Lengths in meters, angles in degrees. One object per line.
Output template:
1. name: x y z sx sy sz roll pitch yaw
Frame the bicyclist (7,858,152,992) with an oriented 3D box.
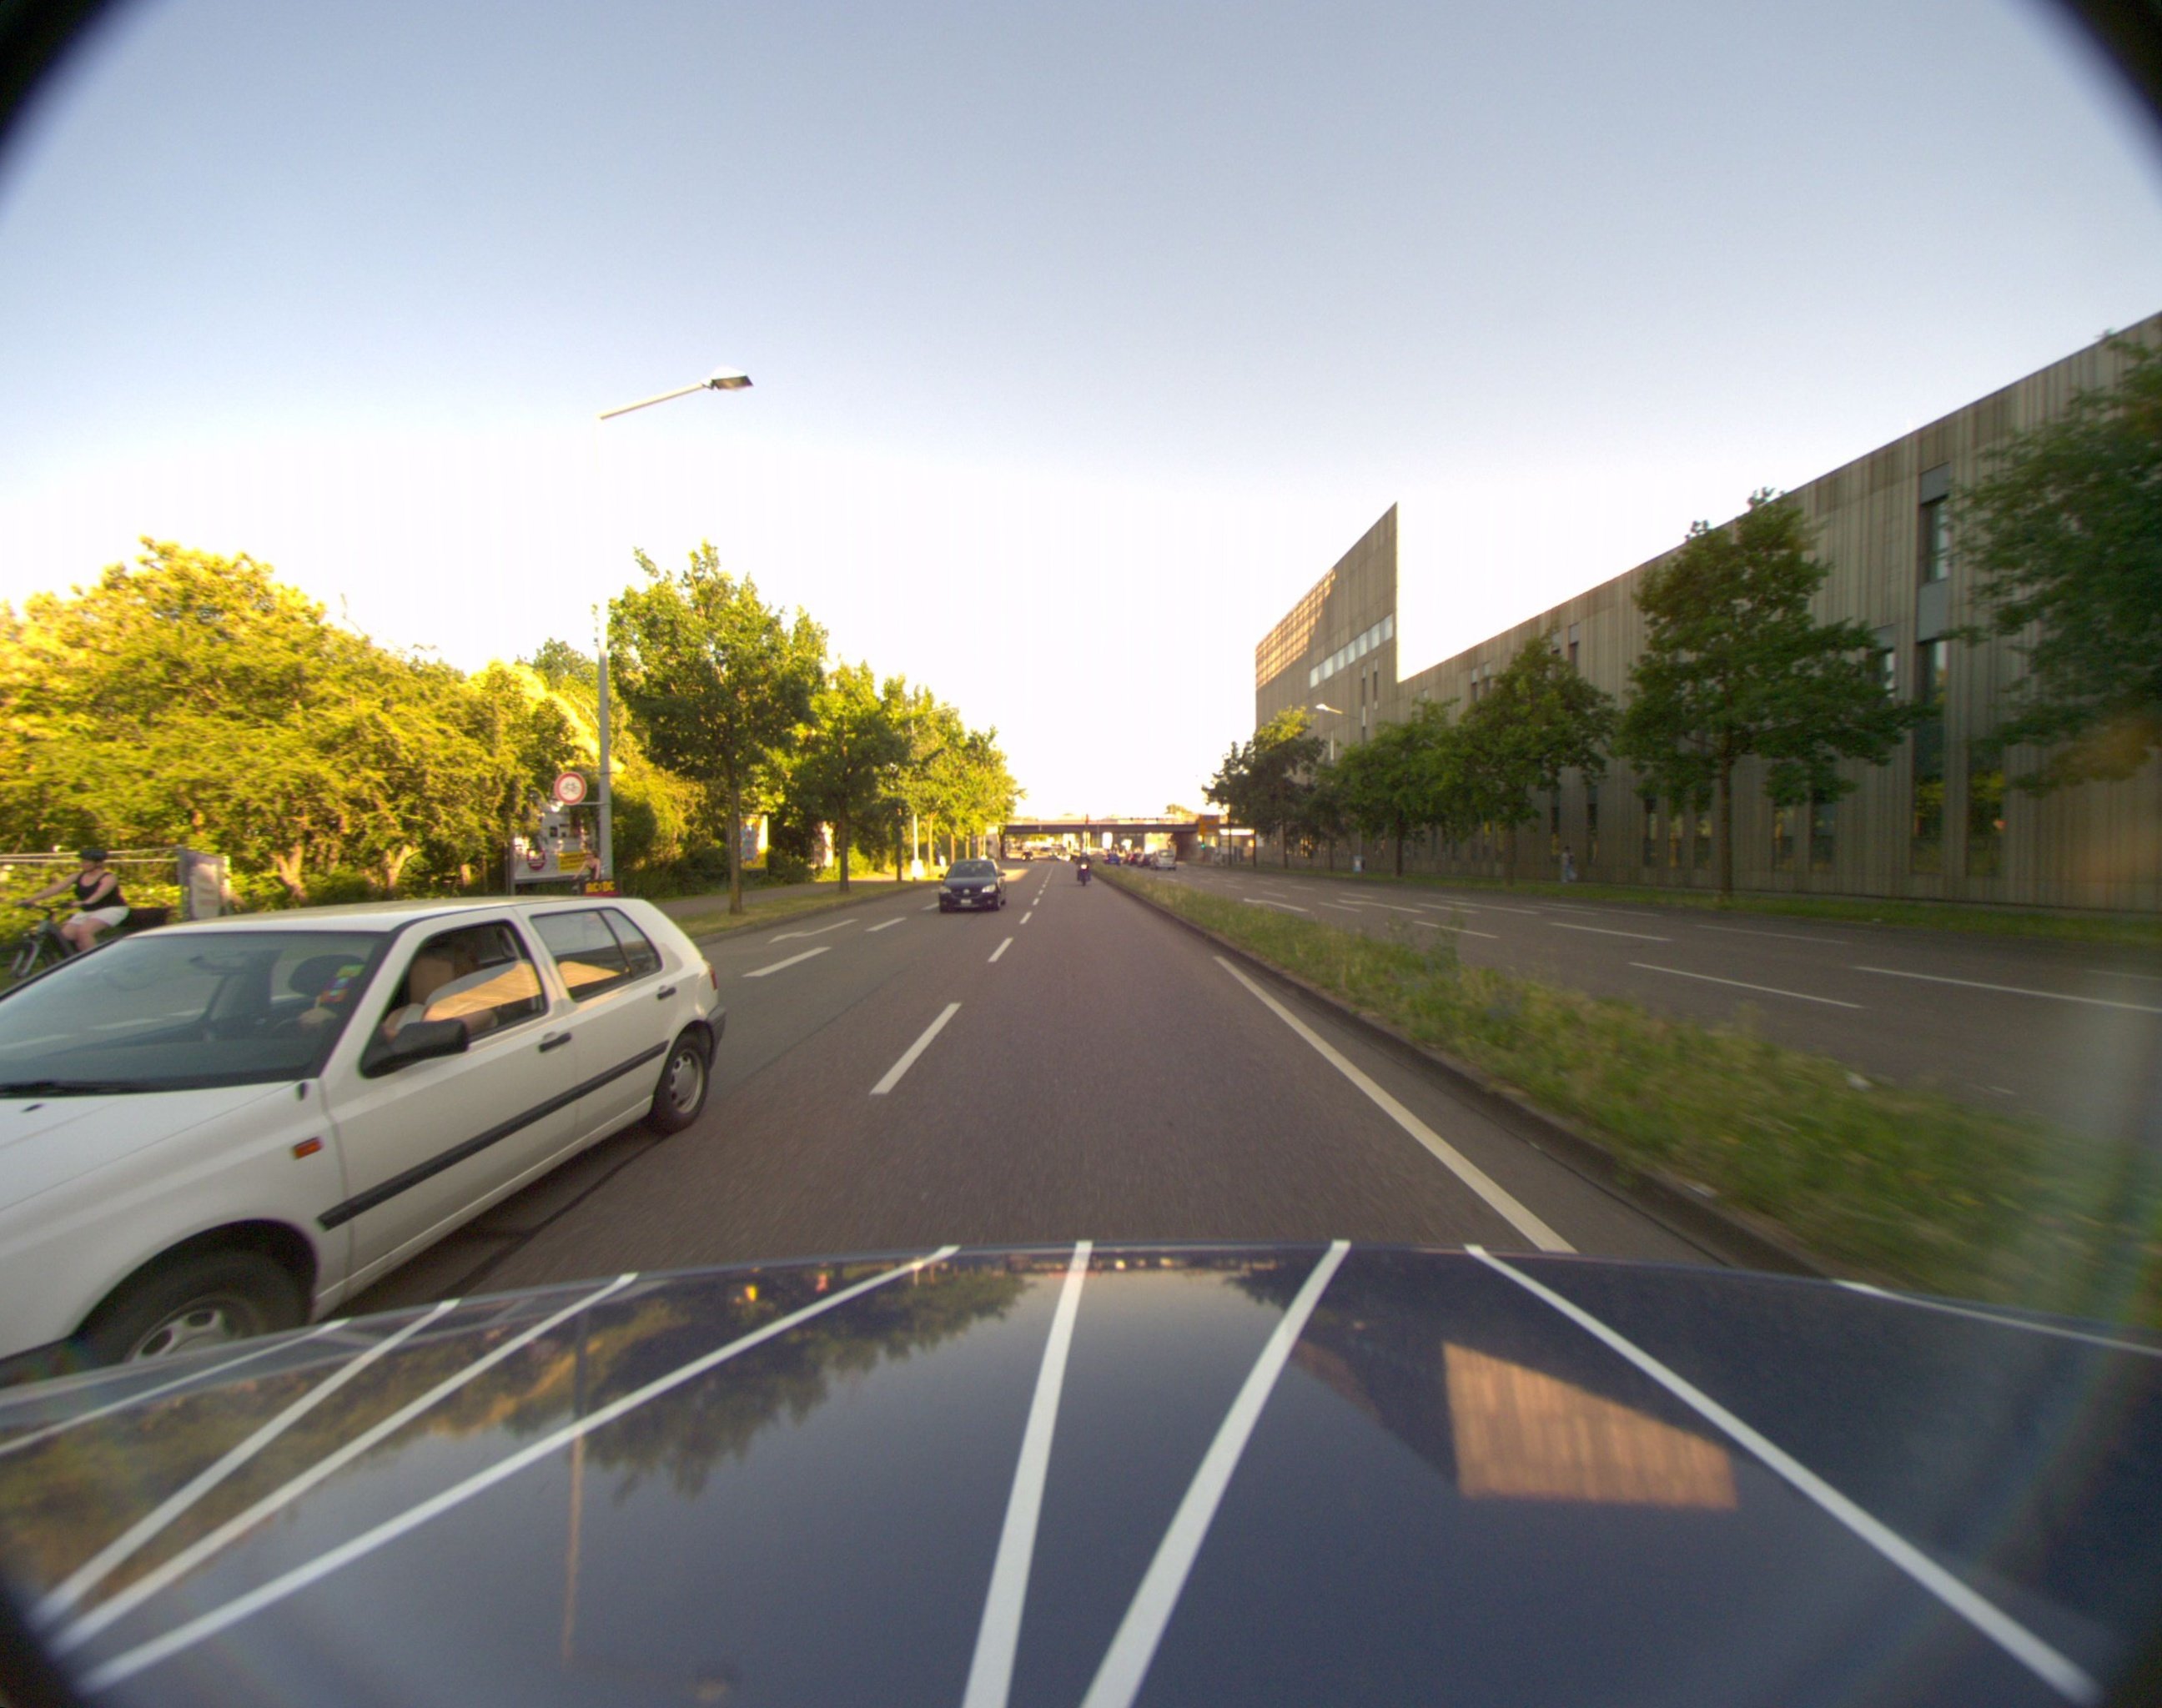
1. bicyclist: -12.323 0.841 9.384 0.605 1.569 0.848 -1 1 0

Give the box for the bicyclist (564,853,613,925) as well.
1. bicyclist: -12.107 0.838 18.691 0.605 1.723 0.848 -1 1 0

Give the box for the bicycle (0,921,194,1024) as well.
1. bicycle: -12.322 1.405 9.240 0.618 0.968 2.058 -1 1 0

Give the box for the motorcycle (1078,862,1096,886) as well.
1. motorcycle: 0.266 0.912 35.236 0.749 0.978 2.139 0 1 -3

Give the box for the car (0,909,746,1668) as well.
1. car: -3.085 1.070 3.002 1.615 1.390 4.039 -3 -1 1

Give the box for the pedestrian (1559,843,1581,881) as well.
1. pedestrian: 22.841 0.362 35.517 0.604 1.757 0.649 -1 1 0

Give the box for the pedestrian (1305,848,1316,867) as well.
1. pedestrian: 19.785 0.259 65.466 0.698 1.619 0.725 0 1 -1

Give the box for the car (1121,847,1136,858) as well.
1. car: 6.124 -0.218 97.961 1.696 1.425 3.771 0 1 -1

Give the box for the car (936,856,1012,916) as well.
1. car: -2.991 0.871 22.019 1.726 1.490 4.213 -2 -1 -2

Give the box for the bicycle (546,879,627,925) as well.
1. bicycle: -12.094 1.151 18.666 0.618 0.968 2.058 -1 1 0

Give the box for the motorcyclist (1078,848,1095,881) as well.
1. motorcyclist: 0.264 0.487 35.471 0.735 1.503 0.918 0 1 -3

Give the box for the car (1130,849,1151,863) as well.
1. car: 6.686 0.183 85.930 1.930 1.510 3.999 0 1 -1

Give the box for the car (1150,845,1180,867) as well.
1. car: 7.146 0.142 64.952 1.999 1.805 4.400 0 1 0

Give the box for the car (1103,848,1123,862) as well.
1. car: 3.531 0.105 83.900 1.841 1.510 3.951 0 1 -2

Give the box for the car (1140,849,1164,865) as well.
1. car: 6.807 0.292 73.088 1.930 1.510 4.289 0 1 0
